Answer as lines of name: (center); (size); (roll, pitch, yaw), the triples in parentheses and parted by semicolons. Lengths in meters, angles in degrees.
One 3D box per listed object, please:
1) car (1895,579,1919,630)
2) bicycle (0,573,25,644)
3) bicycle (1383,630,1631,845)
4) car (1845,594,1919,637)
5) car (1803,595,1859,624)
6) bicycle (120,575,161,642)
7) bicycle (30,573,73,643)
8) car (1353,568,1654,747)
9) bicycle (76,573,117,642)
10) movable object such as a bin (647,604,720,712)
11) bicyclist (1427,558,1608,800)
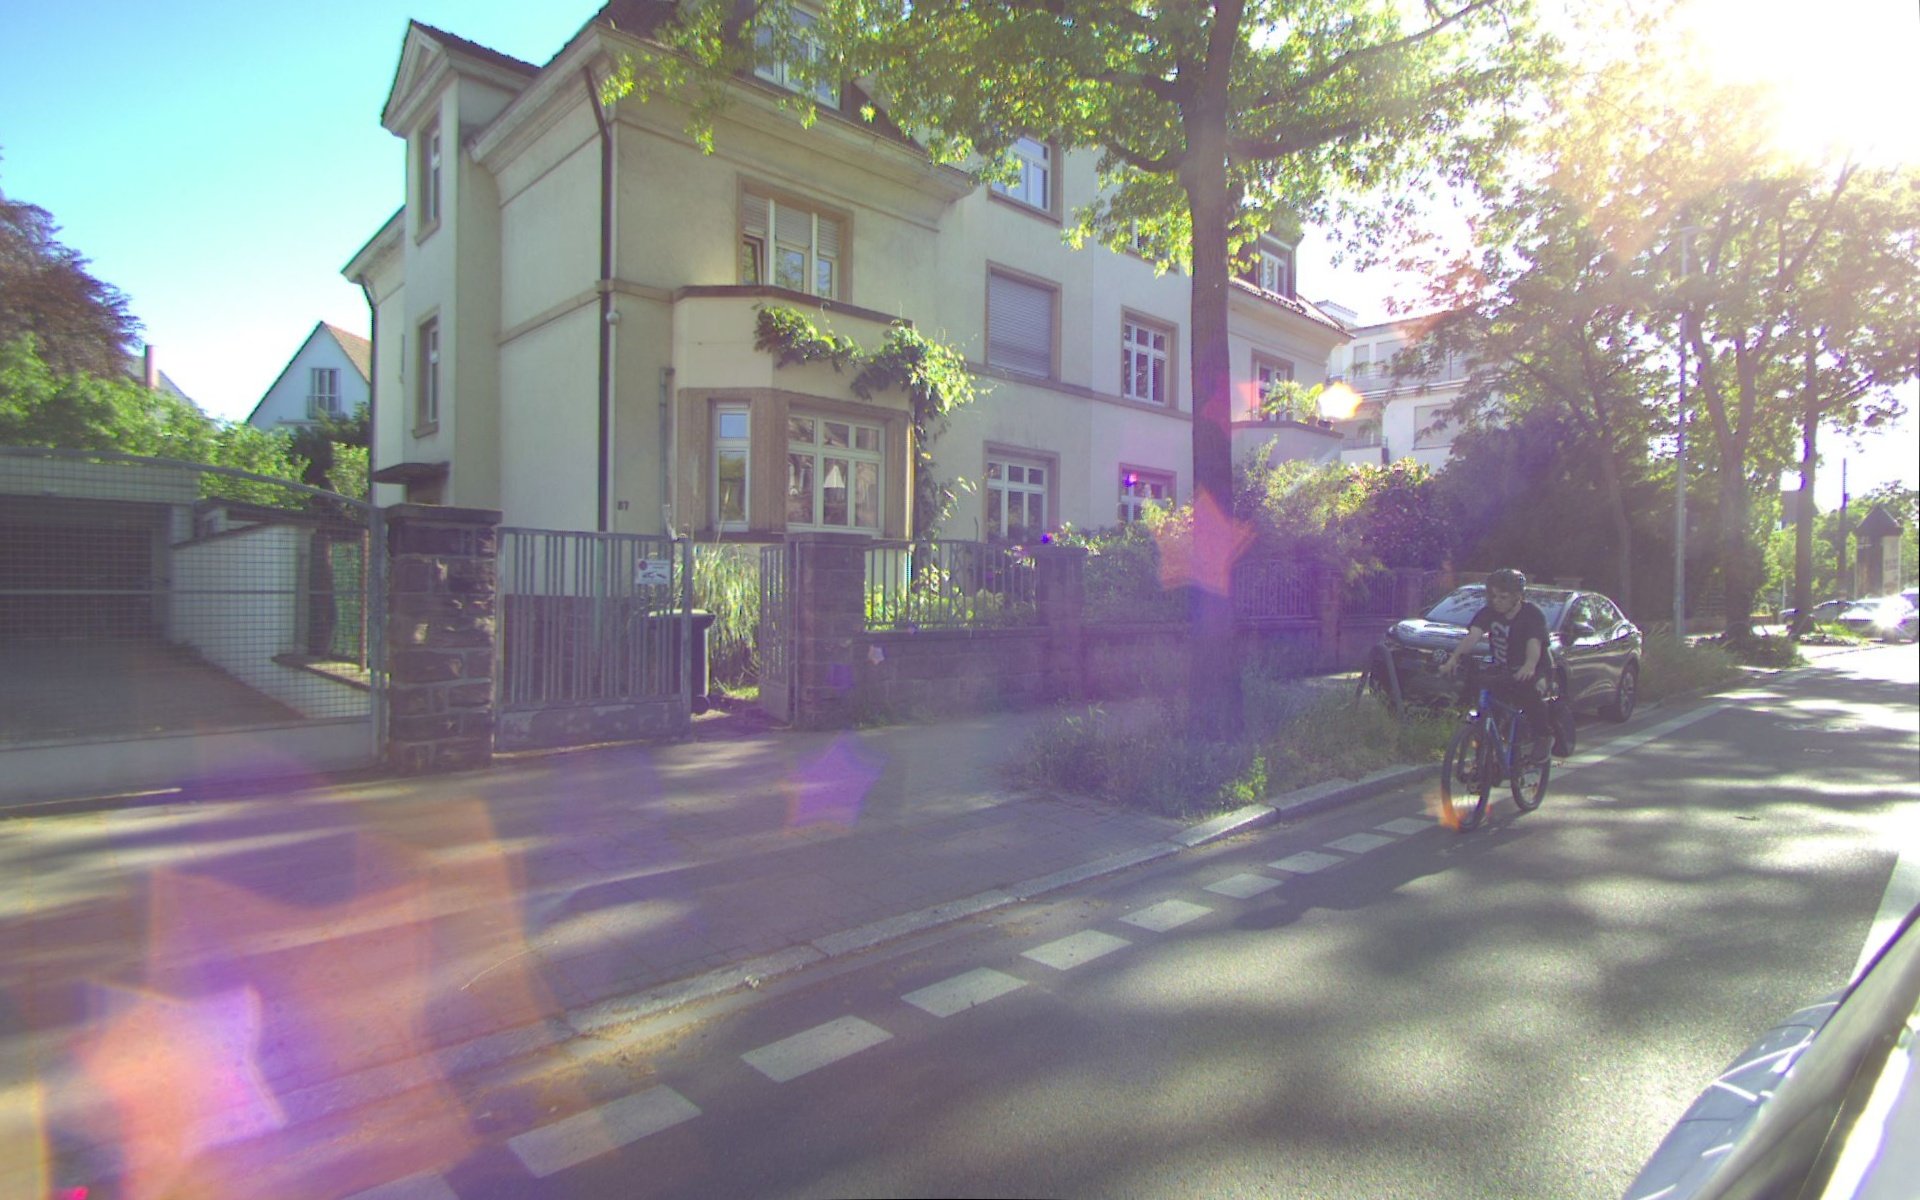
car: (36.667, 0.155, 37.822); (4.171, 1.852, 1.904); (-1, 0, -38)
bicycle: (-15.765, 0.132, 16.640); (0.512, 1.136, 1.464); (0, 0, -41)
bicycle: (3.792, 0.835, 6.928); (2.058, 1.169, 0.830); (-1, 0, -41)
car: (31.490, 0.476, 34.240); (3.847, 1.356, 1.719); (-1, 0, -39)
car: (46.822, 0.472, 54.359); (3.930, 1.460, 1.739); (-1, 0, -41)
bicycle: (-14.358, 0.136, 17.712); (0.512, 1.136, 1.464); (0, 0, -41)
bicycle: (-15.267, 0.126, 17.022); (0.512, 1.136, 1.464); (0, 0, -41)
car: (6.627, 0.546, 12.150); (4.101, 1.765, 1.995); (-1, 0, -43)
bicycle: (-14.842, 0.120, 17.391); (0.512, 1.136, 1.464); (0, 0, -41)
movable object such as a bin: (-2.958, 0.589, 10.788); (0.712, 1.068, 0.969); (0, 0, -17)
bicyclist: (3.843, 0.490, 6.975); (0.918, 1.520, 0.822); (0, 0, -41)
